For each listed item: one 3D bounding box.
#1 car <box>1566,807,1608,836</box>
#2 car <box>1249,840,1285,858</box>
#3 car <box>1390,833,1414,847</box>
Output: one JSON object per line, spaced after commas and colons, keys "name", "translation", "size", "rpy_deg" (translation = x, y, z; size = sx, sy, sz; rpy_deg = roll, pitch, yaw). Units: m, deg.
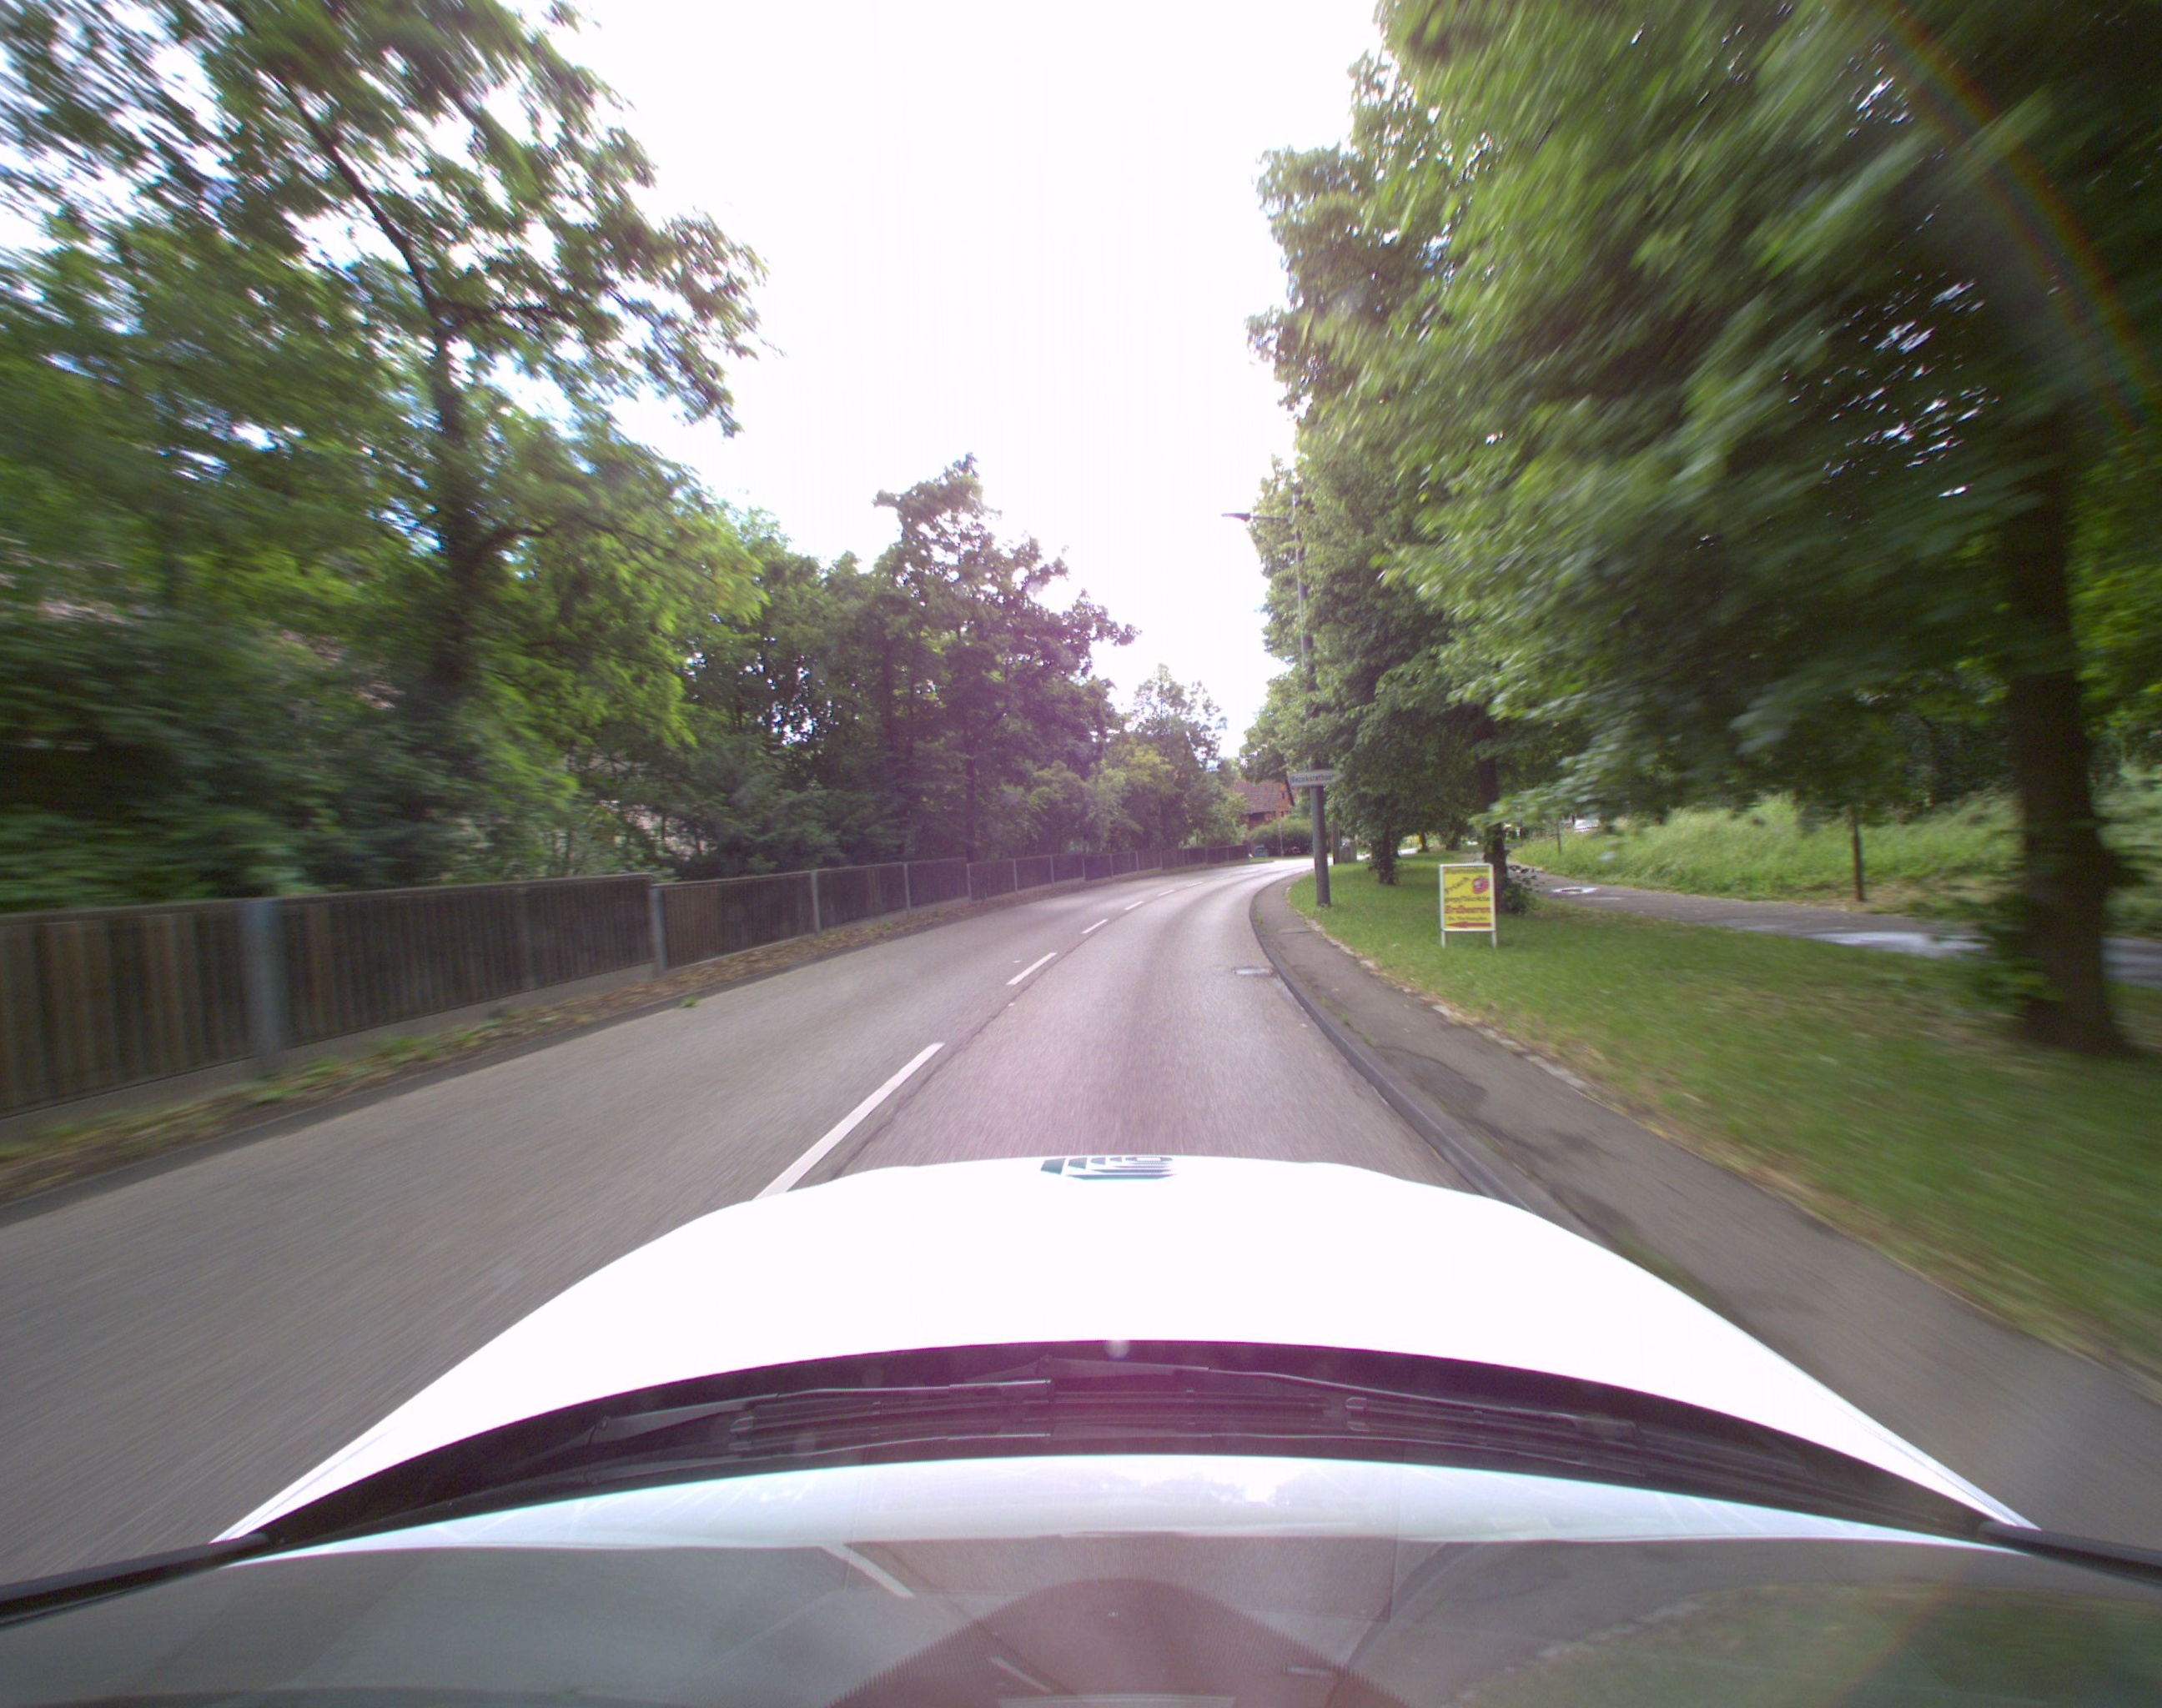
{"name": "car", "translation": [31.844, -2.070, 51.196], "size": [1.888, 1.430, 4.496], "rpy_deg": [-6, 1, 35]}
{"name": "car", "translation": [20.343, -0.535, 89.096], "size": [1.974, 1.618, 4.476], "rpy_deg": [-6, -1, 39]}
{"name": "car", "translation": [47.489, -2.072, 120.363], "size": [1.902, 1.695, 4.025], "rpy_deg": [-6, -1, 42]}
